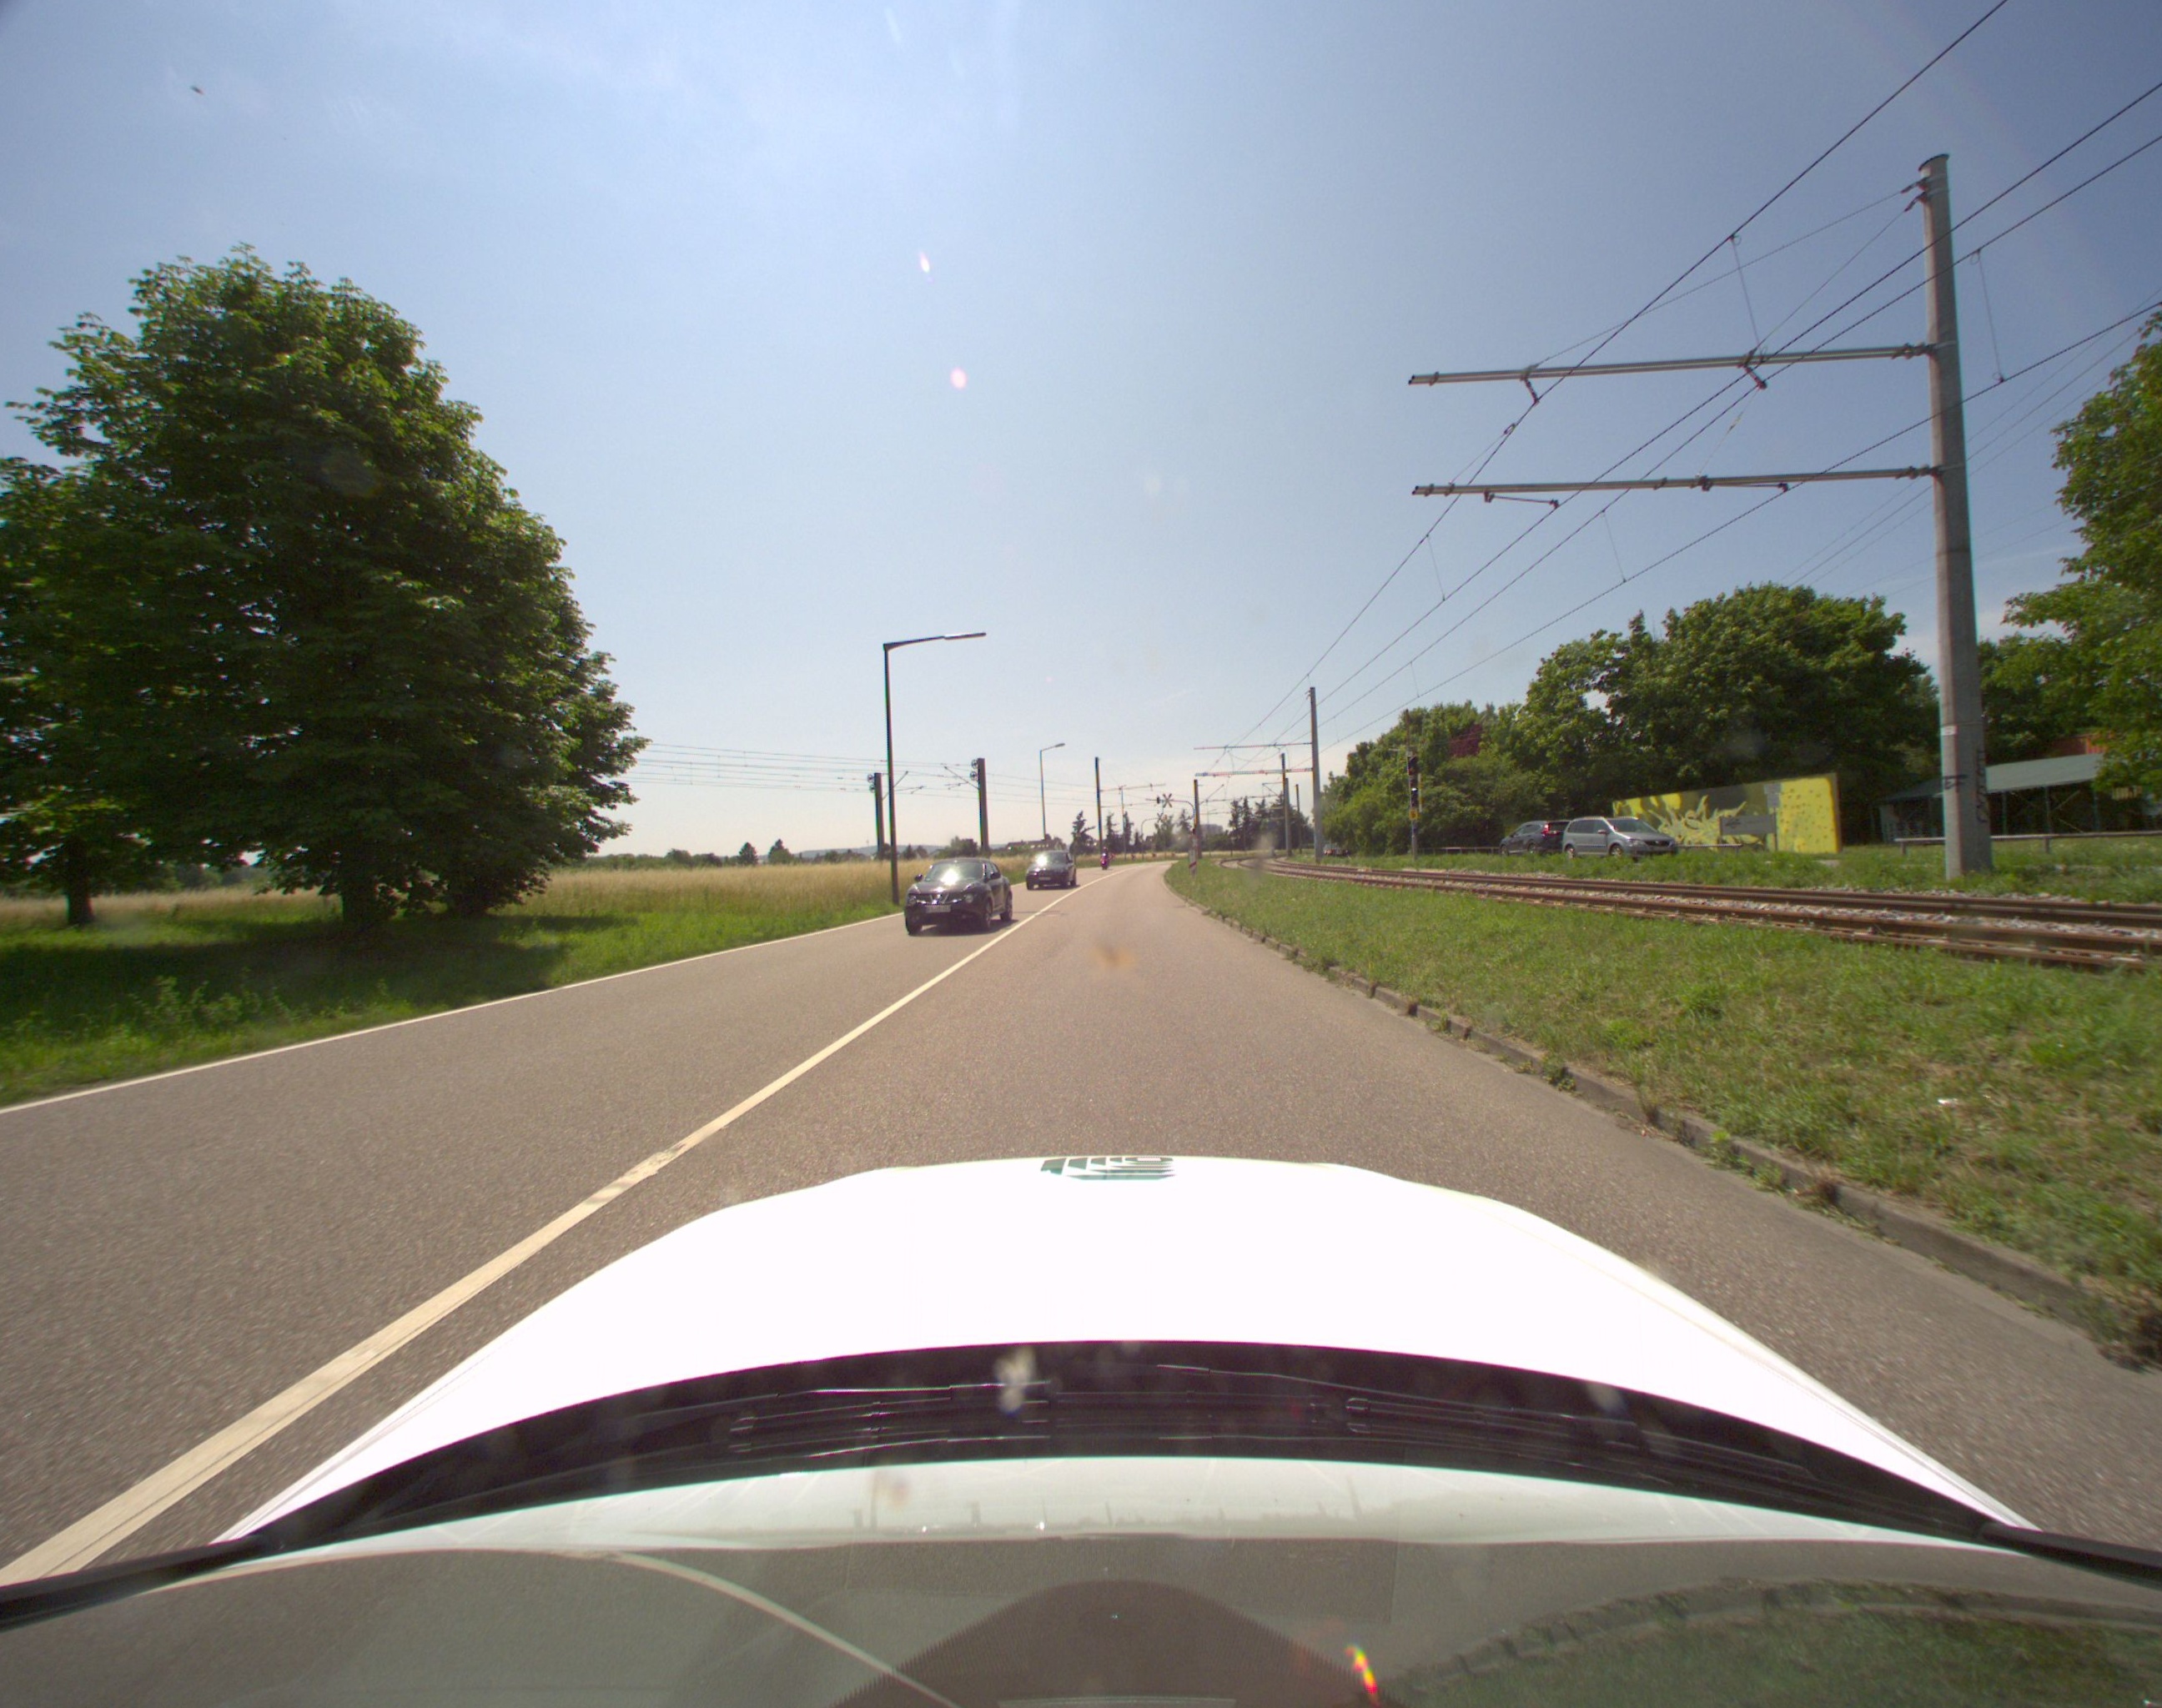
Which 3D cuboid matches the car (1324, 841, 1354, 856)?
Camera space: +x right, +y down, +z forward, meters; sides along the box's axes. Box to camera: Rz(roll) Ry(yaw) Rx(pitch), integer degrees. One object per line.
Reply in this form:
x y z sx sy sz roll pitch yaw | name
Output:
23.635 -0.476 74.792 1.638 1.171 3.670 -3 -1 2 | car

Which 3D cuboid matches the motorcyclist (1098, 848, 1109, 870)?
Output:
1.684 0.354 60.252 0.685 1.585 0.670 -3 2 3 | motorcyclist

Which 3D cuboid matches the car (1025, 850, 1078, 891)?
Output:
-1.259 0.684 36.429 1.818 1.601 4.489 -3 0 4 | car

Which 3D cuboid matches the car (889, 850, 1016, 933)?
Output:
-2.759 0.791 18.431 1.813 1.572 4.118 -3 -1 5 | car

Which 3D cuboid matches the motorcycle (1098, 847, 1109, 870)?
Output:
1.680 0.316 60.211 0.701 1.586 2.149 -3 2 4 | motorcycle

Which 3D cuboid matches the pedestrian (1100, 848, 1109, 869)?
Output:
1.759 0.332 60.854 0.639 1.536 0.578 -3 1 3 | pedestrian

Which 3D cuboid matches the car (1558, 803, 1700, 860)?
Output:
18.588 -0.695 27.921 1.671 1.624 4.711 -3 -1 1 | car

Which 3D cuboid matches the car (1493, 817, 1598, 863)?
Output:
19.305 -0.535 34.146 1.820 1.657 4.820 -3 -1 3 | car
